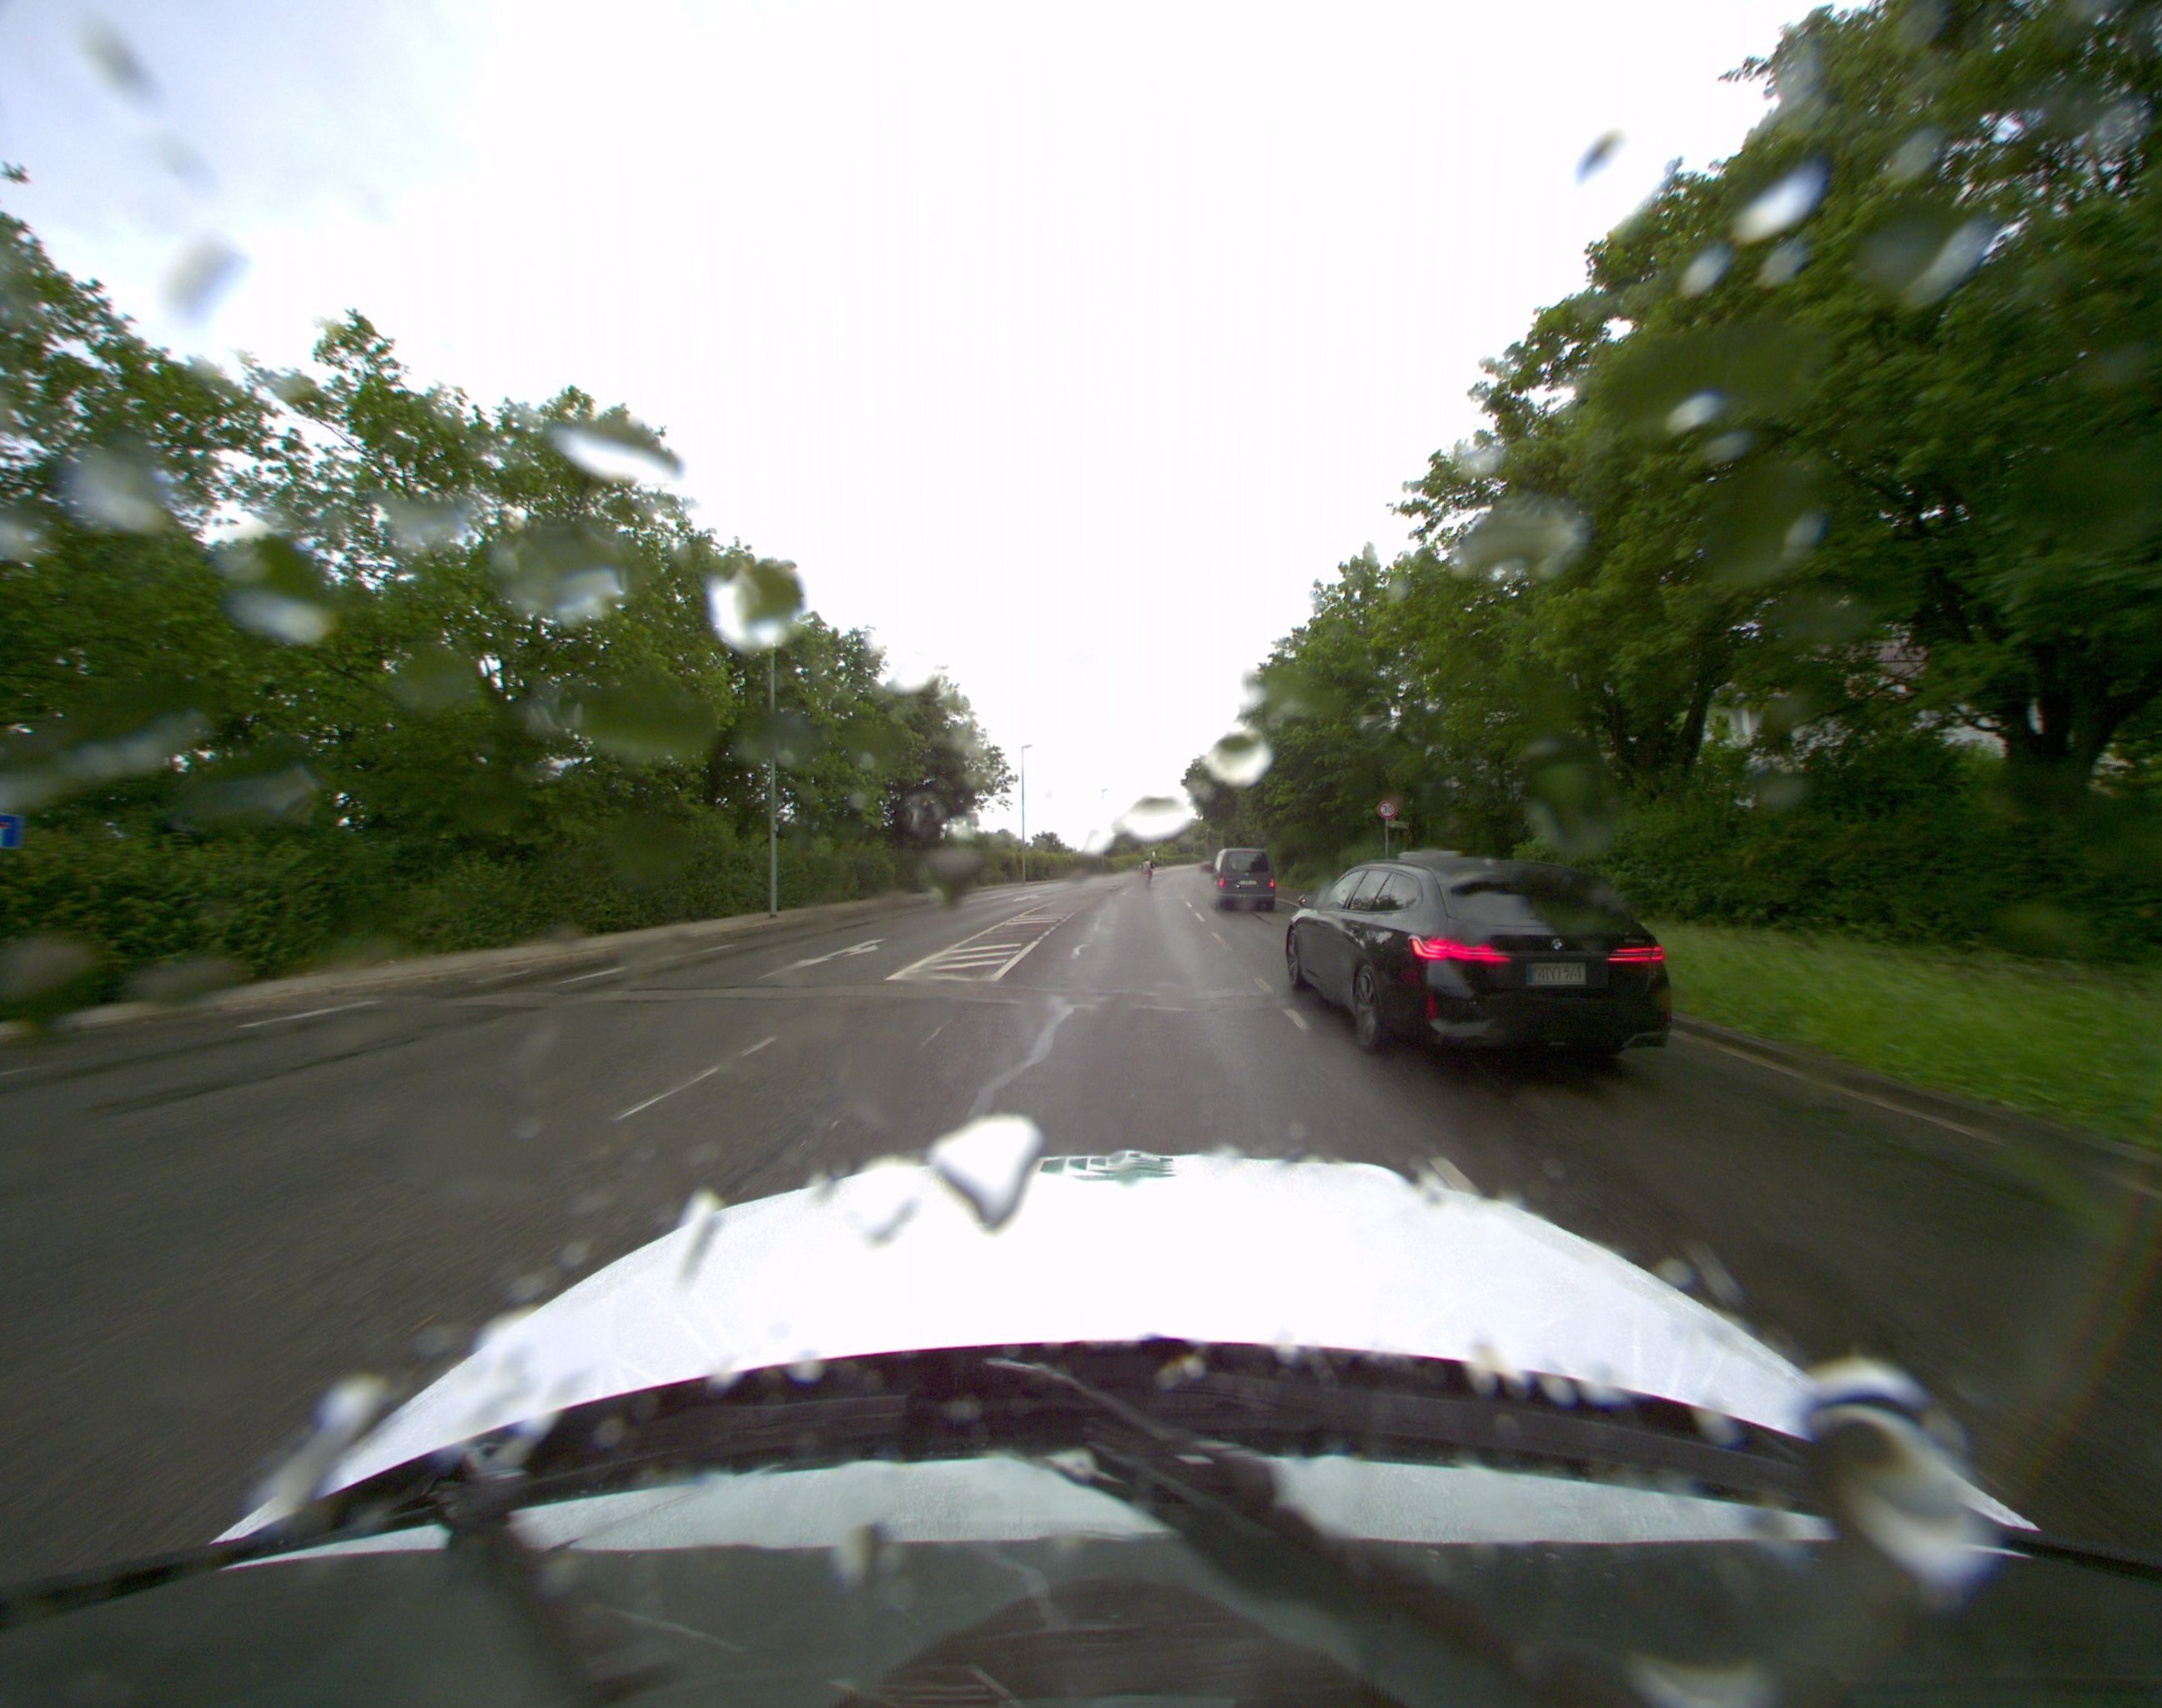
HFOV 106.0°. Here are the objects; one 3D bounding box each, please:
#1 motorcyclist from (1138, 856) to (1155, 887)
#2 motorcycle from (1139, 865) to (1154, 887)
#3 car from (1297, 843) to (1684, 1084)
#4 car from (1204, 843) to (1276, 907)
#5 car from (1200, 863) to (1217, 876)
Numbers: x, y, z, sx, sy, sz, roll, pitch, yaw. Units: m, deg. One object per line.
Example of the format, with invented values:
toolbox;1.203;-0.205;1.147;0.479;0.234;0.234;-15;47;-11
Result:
motorcyclist;3.518;0.916;43.672;0.840;1.647;0.469;-1;0;7
motorcycle;3.515;1.187;43.808;0.737;1.119;1.429;0;1;7
car;3.113;0.705;7.087;1.756;1.536;3.677;0;0;5
car;4.793;0.566;25.041;1.759;1.810;3.910;0;1;5
car;16.049;1.902;102.113;2.002;1.415;4.499;0;1;10
